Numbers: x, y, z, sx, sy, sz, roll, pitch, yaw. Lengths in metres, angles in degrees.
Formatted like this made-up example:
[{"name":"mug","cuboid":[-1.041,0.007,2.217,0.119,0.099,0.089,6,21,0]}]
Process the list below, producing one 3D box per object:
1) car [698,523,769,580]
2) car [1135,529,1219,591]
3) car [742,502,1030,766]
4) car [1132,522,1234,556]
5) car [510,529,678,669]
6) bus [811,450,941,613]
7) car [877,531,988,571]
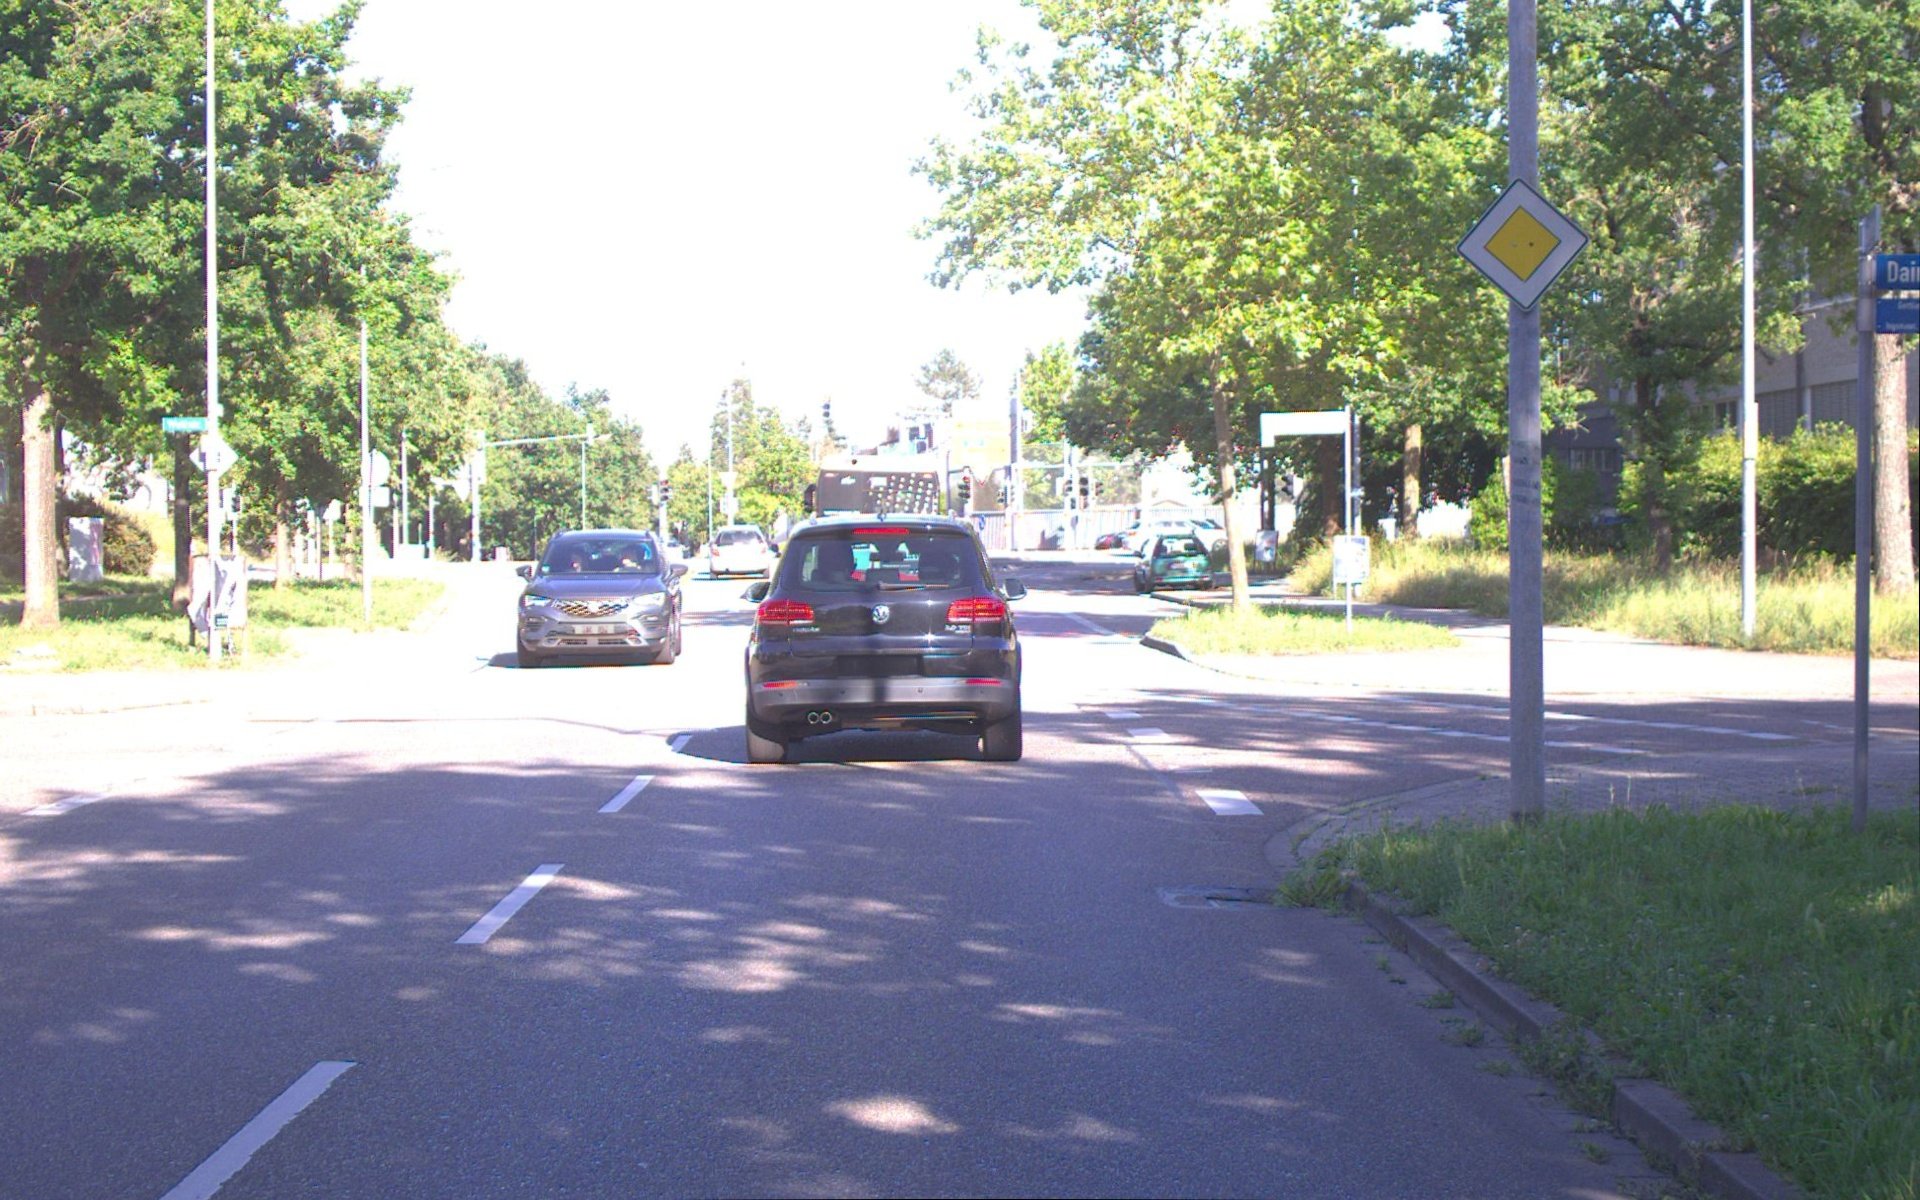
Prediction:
[{"name":"car","cuboid":[-6.727,-1.427,101.723,1.753,1.615,4.034,-1,1,-8]},{"name":"car","cuboid":[5.257,-0.970,83.729,1.592,1.424,4.204,-2,1,-2]},{"name":"car","cuboid":[-0.492,0.202,23.998,1.821,1.668,4.003,-1,0,0]},{"name":"car","cuboid":[9.193,-2.504,141.779,3.891,1.335,1.683,1,0,-11]},{"name":"car","cuboid":[-4.382,-0.021,41.644,1.753,1.590,4.299,1,0,-3]},{"name":"bus","cuboid":[-1.984,-1.549,76.666,2.596,3.323,11.985,1,1,-3]},{"name":"car","cuboid":[-0.905,-1.621,113.752,3.523,1.297,1.574,0,1,6]}]
